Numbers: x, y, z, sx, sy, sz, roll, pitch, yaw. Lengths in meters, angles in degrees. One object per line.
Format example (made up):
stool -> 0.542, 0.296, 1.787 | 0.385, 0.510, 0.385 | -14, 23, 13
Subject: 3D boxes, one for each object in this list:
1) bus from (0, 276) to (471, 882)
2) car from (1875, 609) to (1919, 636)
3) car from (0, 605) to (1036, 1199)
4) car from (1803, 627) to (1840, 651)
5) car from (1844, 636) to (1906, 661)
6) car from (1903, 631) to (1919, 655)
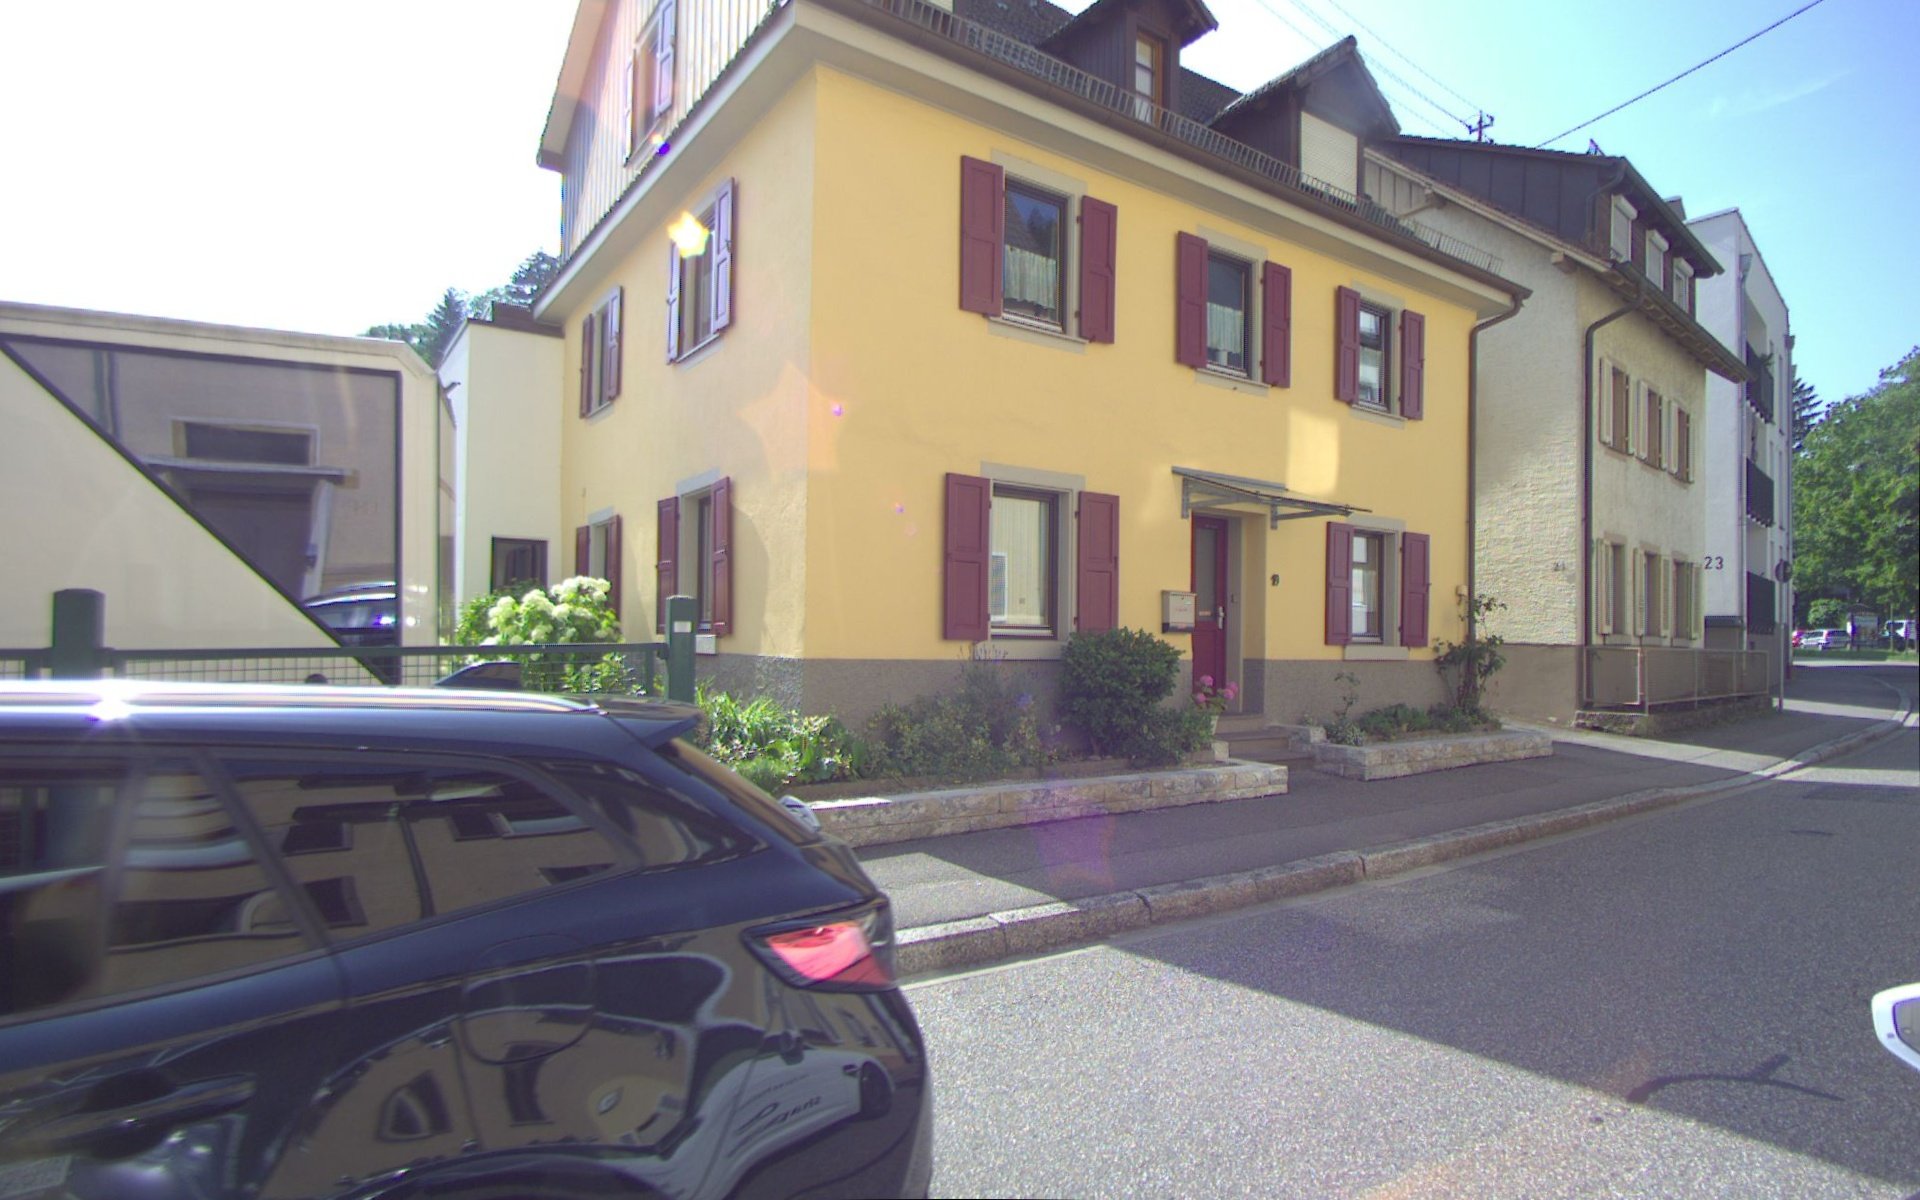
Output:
bus -> -7.831, -0.169, 5.740 | 8.912, 3.271, 2.812 | 1, 0, -25
car -> 66.668, 1.577, 69.711 | 4.609, 1.879, 2.000 | 0, -1, -2
car -> -2.064, 0.794, 1.503 | 4.213, 1.467, 1.650 | 1, -5, -33
car -> 59.331, 2.660, 69.195 | 1.722, 1.572, 3.738 | -1, -2, 38
car -> 57.831, 3.029, 63.566 | 1.645, 1.487, 3.411 | 0, -2, 18
car -> 64.522, 2.855, 66.138 | 3.935, 1.572, 1.809 | 1, -2, -16
